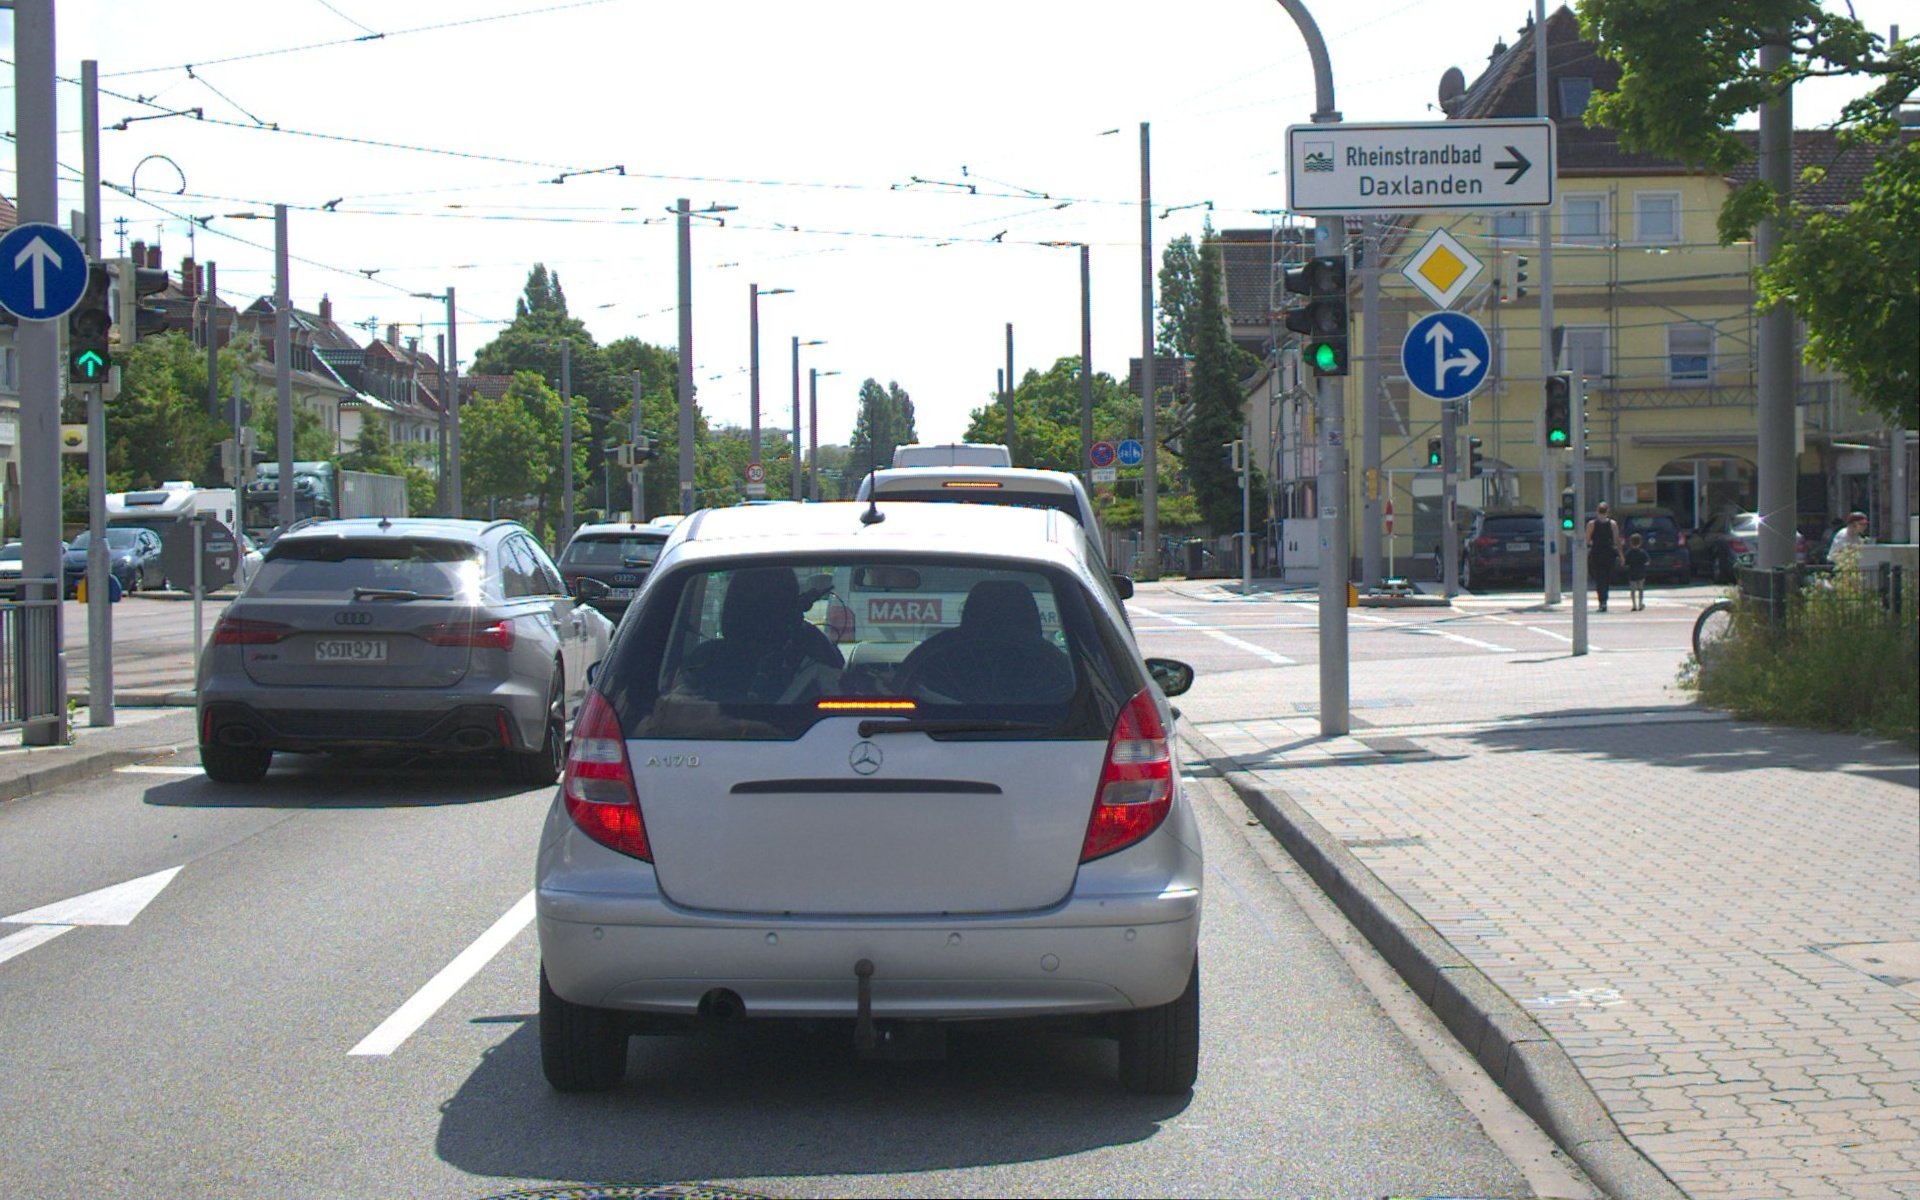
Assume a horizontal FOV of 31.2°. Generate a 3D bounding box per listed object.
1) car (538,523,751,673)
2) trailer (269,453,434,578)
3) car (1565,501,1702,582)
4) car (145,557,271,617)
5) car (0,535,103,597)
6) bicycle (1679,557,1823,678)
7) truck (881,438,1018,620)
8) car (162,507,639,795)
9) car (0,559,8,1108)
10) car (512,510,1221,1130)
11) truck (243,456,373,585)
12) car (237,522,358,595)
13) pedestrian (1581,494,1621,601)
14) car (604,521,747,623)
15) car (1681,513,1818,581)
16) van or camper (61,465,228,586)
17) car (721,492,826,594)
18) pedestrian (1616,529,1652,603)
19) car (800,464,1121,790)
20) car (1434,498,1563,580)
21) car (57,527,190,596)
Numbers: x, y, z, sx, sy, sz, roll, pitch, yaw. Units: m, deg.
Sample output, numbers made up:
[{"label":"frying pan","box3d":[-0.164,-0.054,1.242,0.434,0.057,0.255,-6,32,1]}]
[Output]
[{"label":"car","box3d":[-3.105,-0.050,34.610,1.852,1.383,4.515,1,1,-2]},{"label":"trailer","box3d":[-20.151,-2.874,114.700,2.599,3.808,12.837,-3,2,2]},{"label":"car","box3d":[13.877,-1.196,71.038,1.993,1.590,4.131,1,1,0]},{"label":"car","box3d":[-17.575,-0.318,80.523,1.993,1.347,4.178,1,1,0]},{"label":"car","box3d":[-20.832,-0.782,77.785,1.684,1.347,4.345,1,1,2]},{"label":"bicycle","box3d":[6.887,0.147,29.871,0.463,1.015,1.752,1,1,40]},{"label":"truck","box3d":[-0.221,-1.042,51.723,1.852,2.543,5.855,1,1,-2]},{"label":"car","box3d":[-3.133,0.229,20.219,1.916,1.472,4.562,1,1,2]},{"label":"car","box3d":[-3.384,0.626,6.987,1.731,1.444,4.123,1,1,0]},{"label":"car","box3d":[-0.310,0.523,10.515,1.730,1.511,4.017,1,1,-2]},{"label":"truck","box3d":[-20.397,-2.522,107.844,2.599,3.808,5.667,-3,2,3]},{"label":"car","box3d":[-17.459,-1.119,90.799,1.994,1.770,4.878,-2,1,2]},{"label":"pedestrian","box3d":[9.902,-0.805,53.094,0.547,1.638,0.401,1,1,5]},{"label":"car","box3d":[-4.090,-0.414,49.866,1.852,1.383,3.919,1,1,-2]},{"label":"car","box3d":[16.325,-1.088,71.252,1.867,1.347,4.131,1,1,0]},{"label":"van or camper","box3d":[-20.787,-1.910,88.038,2.324,2.919,7.755,-1,1,0]},{"label":"car","box3d":[-3.492,-1.076,64.908,1.852,1.837,3.919,1,1,-2]},{"label":"pedestrian","box3d":[10.447,-0.525,53.288,0.488,1.132,0.389,1,1,2]},{"label":"car","box3d":[-0.079,0.123,20.815,1.730,1.756,4.017,1,1,-2]},{"label":"car","box3d":[11.052,-1.245,70.827,1.993,1.590,4.131,1,1,0]},{"label":"car","box3d":[-17.249,-0.794,71.024,1.684,1.347,4.178,1,1,0]}]
